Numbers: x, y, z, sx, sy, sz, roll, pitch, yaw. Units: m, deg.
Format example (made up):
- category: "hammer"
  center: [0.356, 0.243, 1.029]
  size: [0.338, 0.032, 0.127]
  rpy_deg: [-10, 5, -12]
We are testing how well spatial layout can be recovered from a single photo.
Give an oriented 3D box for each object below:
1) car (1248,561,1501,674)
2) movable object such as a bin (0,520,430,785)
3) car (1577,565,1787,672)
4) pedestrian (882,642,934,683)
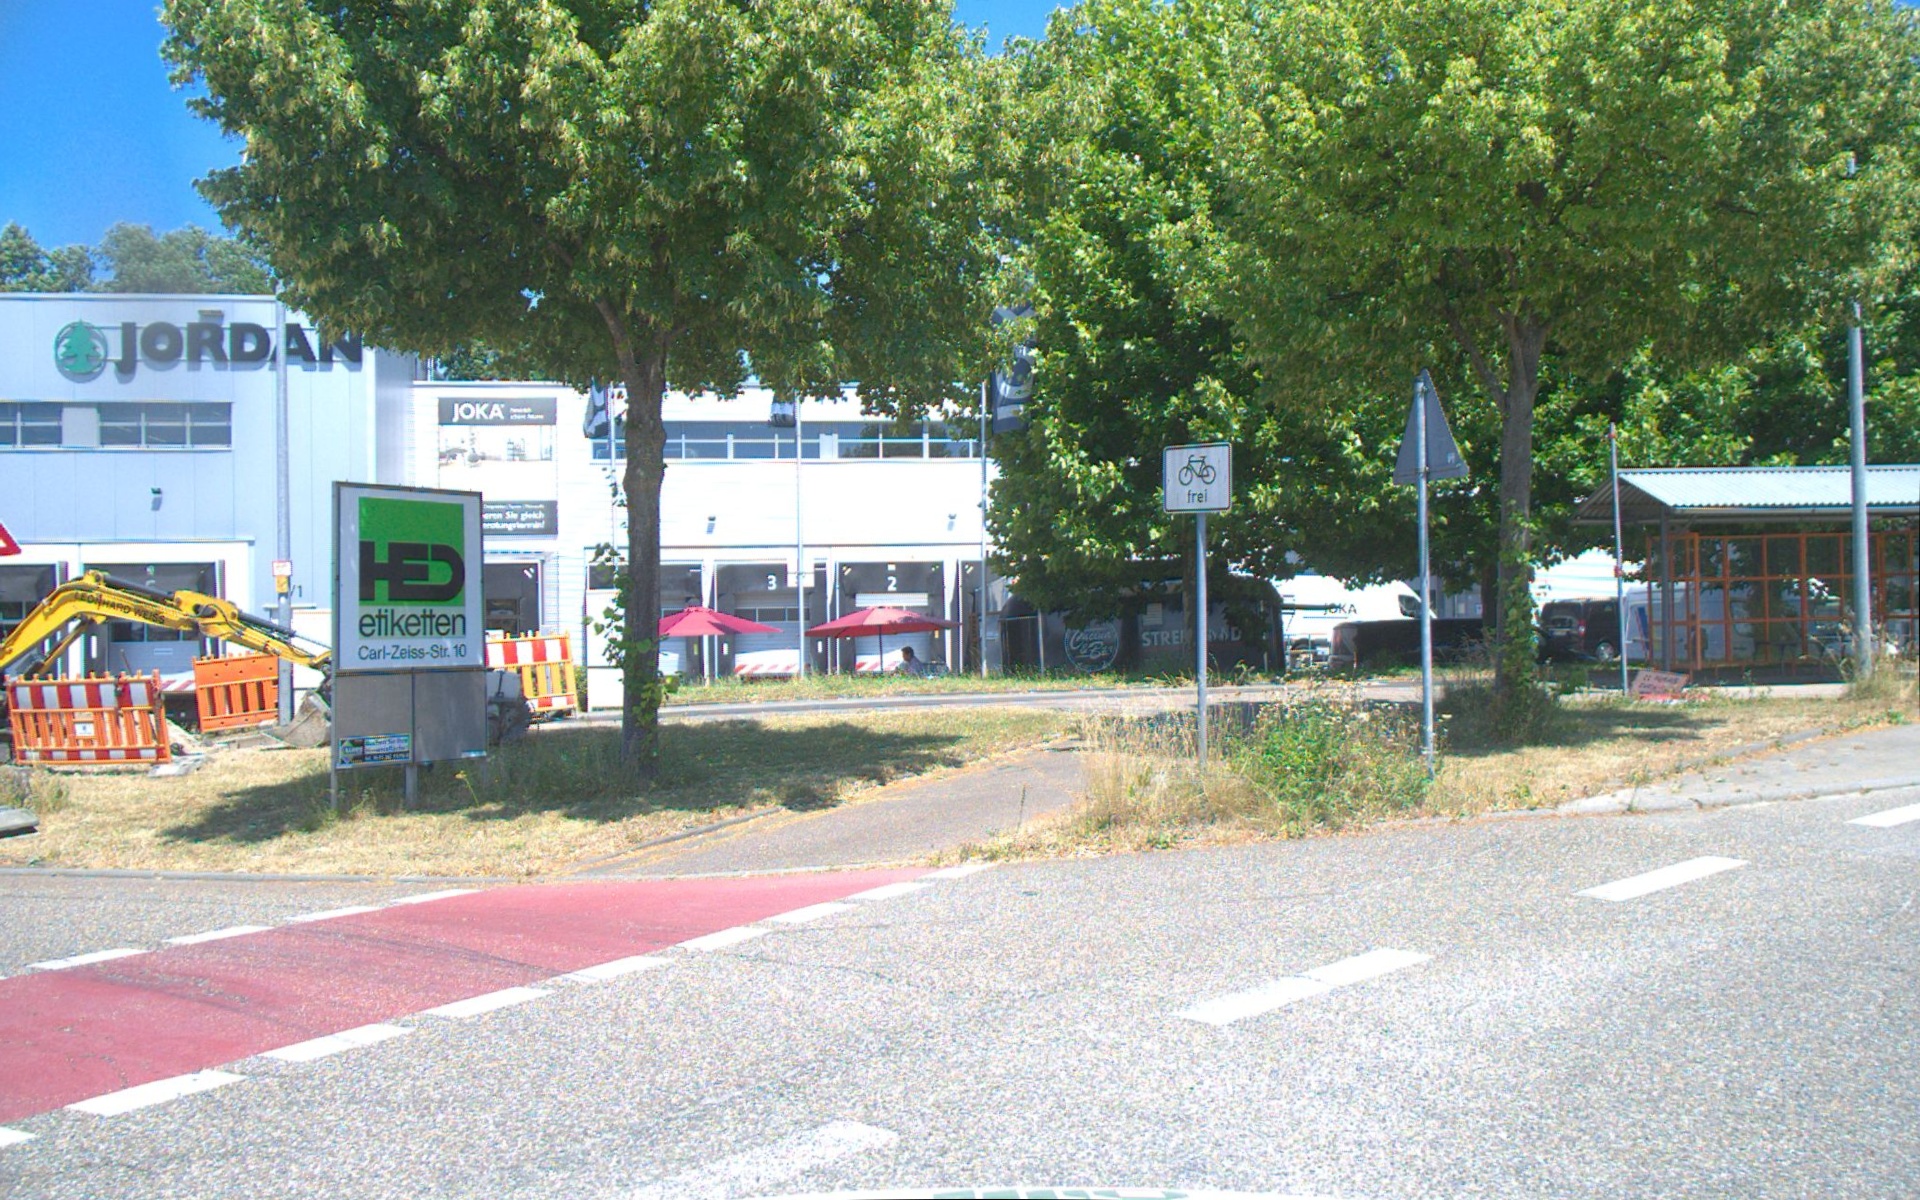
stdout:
- category: "car"
  center: [7.298, 0.315, 29.357]
  size: [3.910, 1.758, 1.838]
  rpy_deg: [-3, -1, -6]
- category: "movable object such as a bin"
  center: [-9.775, 0.681, 19.223]
  size: [6.426, 2.626, 1.999]
  rpy_deg: [-4, -2, -3]
- category: "car"
  center: [14.708, 0.440, 33.953]
  size: [1.520, 2.049, 4.243]
  rpy_deg: [1, -3, -18]
- category: "pedestrian"
  center: [-0.958, 1.148, 30.453]
  size: [0.845, 0.707, 0.408]
  rpy_deg: [-3, -1, 16]
